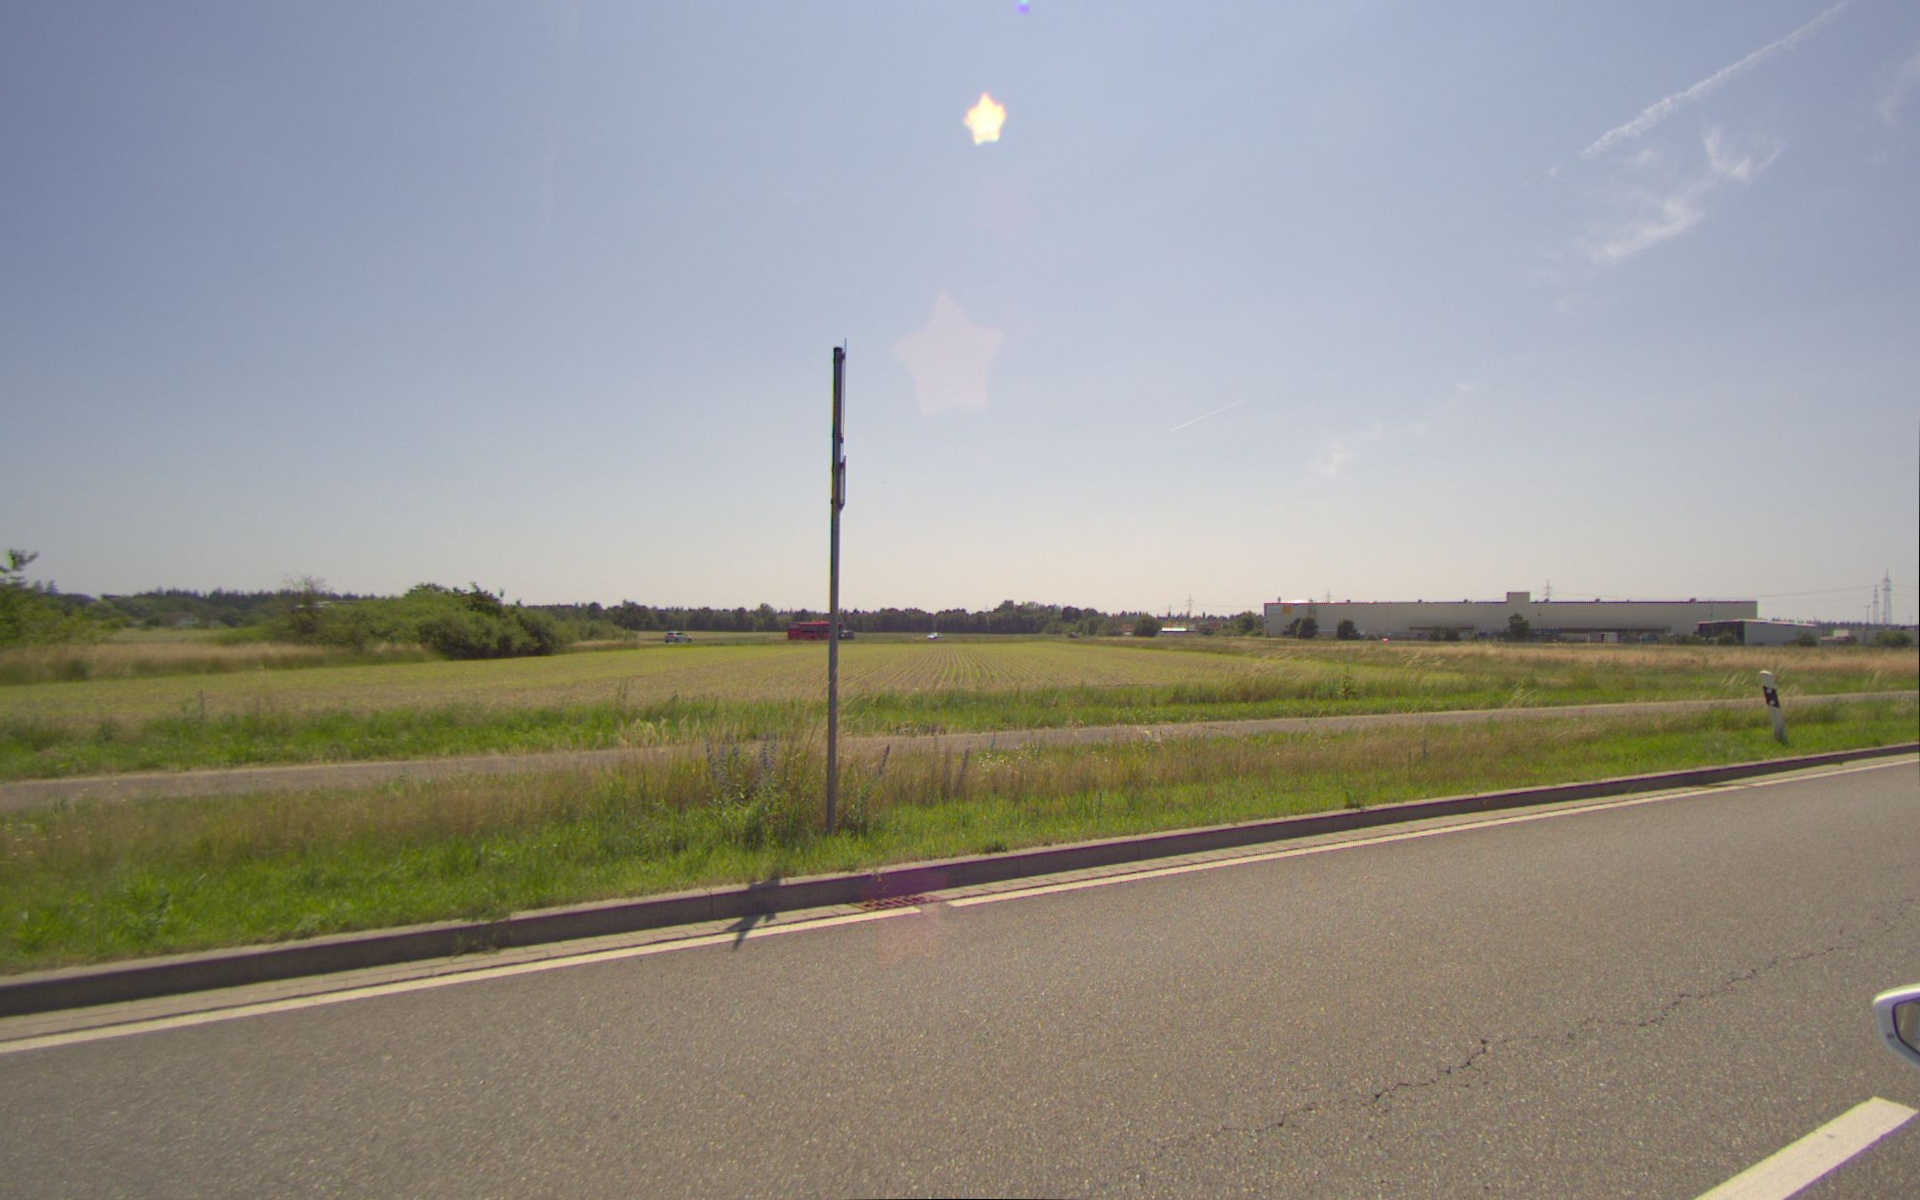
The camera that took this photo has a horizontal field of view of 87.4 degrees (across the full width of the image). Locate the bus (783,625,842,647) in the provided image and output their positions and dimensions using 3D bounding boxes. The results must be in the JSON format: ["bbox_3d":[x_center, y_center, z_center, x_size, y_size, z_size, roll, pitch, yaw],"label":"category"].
[{"bbox_3d":[-23.295,5.720,159.623,3.251,3.352,11.981,0,-2,25],"label":"bus"}]

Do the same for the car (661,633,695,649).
[{"bbox_3d":[-36.612,5.249,130.455,1.962,2.040,4.227,-1,-2,25],"label":"car"}]

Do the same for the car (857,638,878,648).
[{"bbox_3d":[-16.853,7.787,183.641,1.964,1.795,3.995,-1,-3,28],"label":"car"}]

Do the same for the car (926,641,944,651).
[{"bbox_3d":[-5.002,9.301,202.446,1.964,1.916,3.994,0,-2,29],"label":"car"}]
